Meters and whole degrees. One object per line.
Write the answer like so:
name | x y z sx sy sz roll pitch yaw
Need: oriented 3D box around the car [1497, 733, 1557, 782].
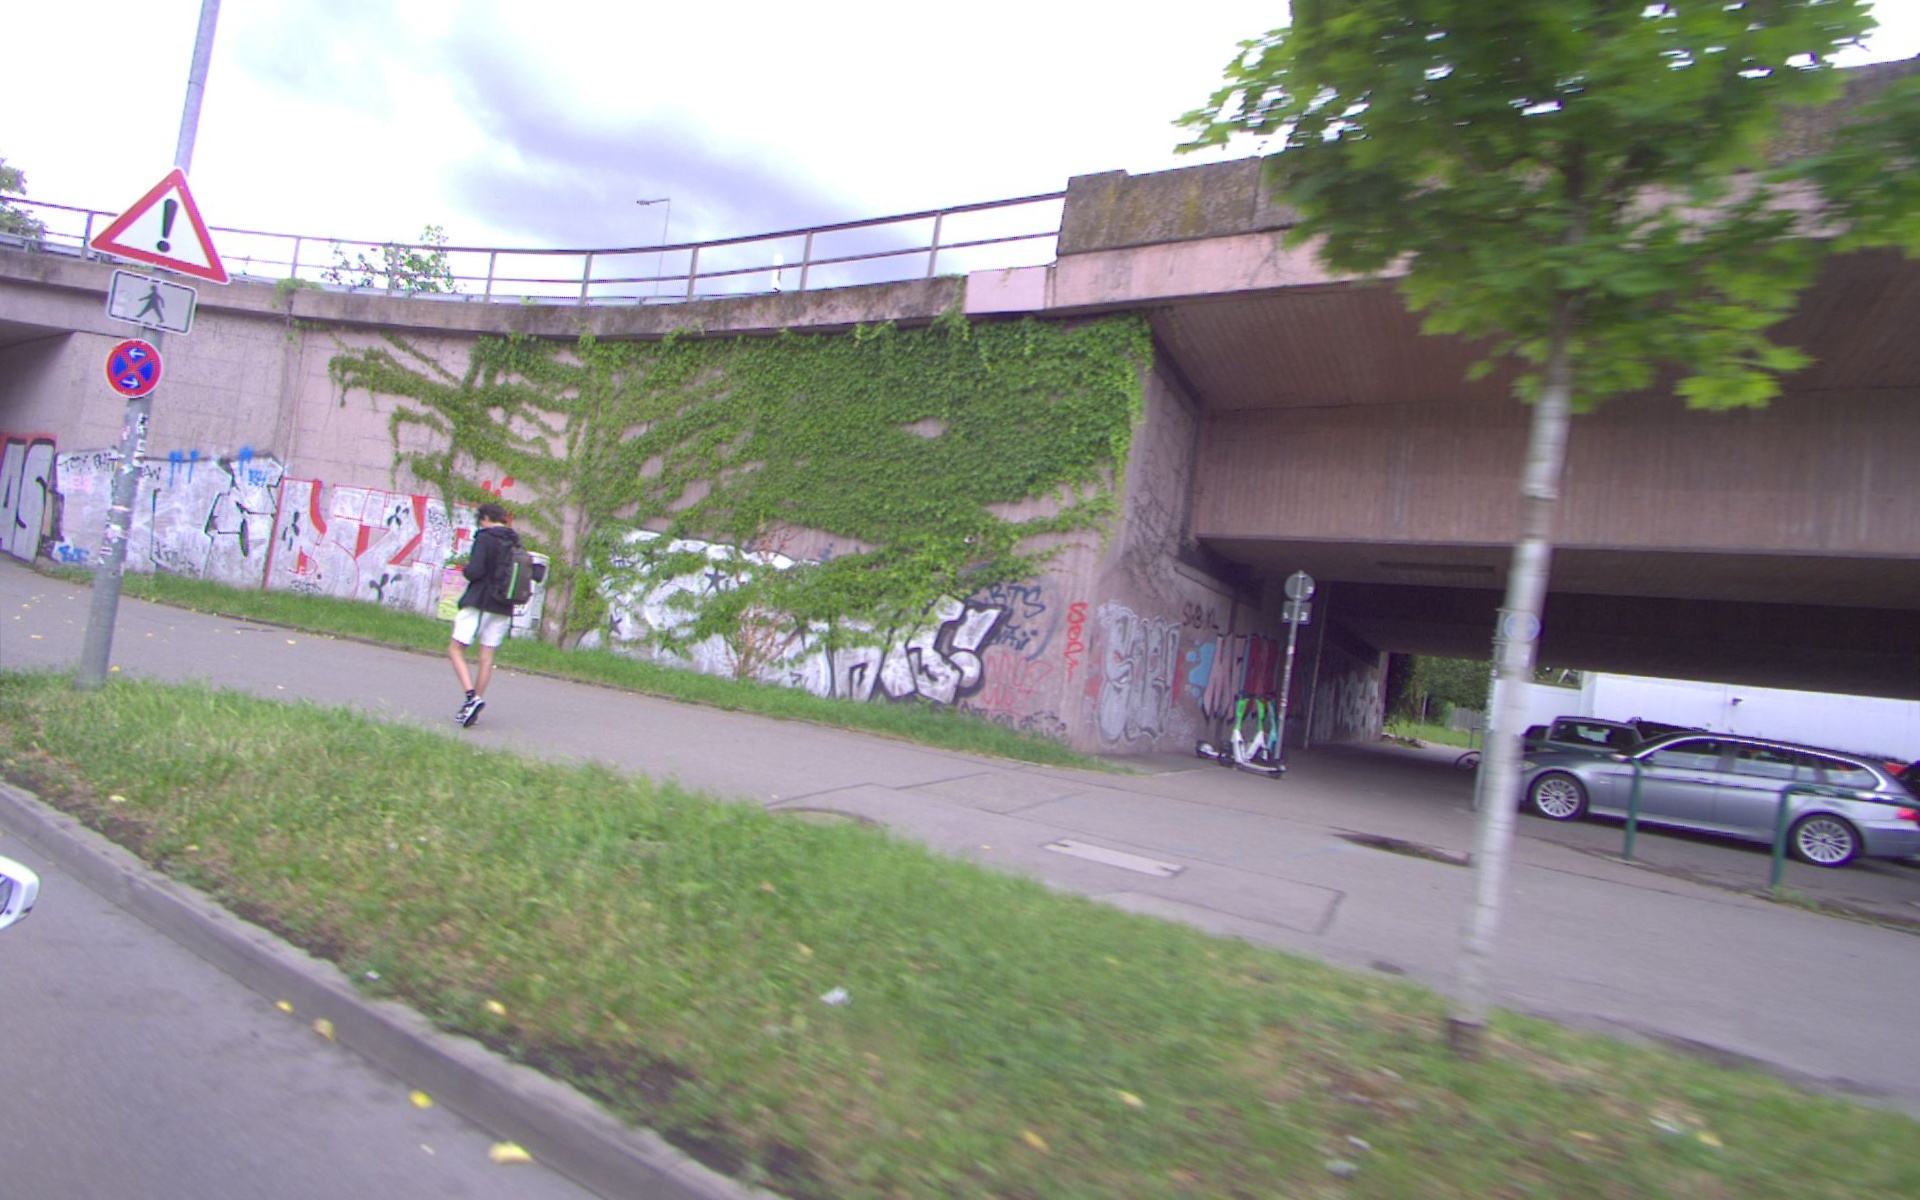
car | 17.305 4.770 30.706 1.357 1.125 3.317 10 -1 30

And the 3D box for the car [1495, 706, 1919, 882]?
car | 9.610 2.393 13.178 4.402 1.402 1.639 6 -2 33

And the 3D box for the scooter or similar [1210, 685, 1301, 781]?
scooter or similar | 4.243 1.891 14.526 0.324 1.170 1.384 8 -2 -22

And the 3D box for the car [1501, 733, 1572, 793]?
car | 14.848 4.151 25.932 1.357 1.125 3.317 10 -1 30

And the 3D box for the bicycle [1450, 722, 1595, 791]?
bicycle | 12.736 3.510 22.812 2.722 1.081 1.138 6 -1 33

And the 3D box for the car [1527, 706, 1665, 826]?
car | 10.712 2.738 17.151 1.601 1.520 3.613 10 -1 30

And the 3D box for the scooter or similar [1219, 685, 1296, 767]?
scooter or similar | 5.050 2.130 17.097 1.065 1.218 0.382 8 -1 4

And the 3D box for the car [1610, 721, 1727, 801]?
car | 18.135 4.054 25.937 1.643 1.596 4.001 7 -2 26

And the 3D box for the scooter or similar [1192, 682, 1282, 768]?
scooter or similar | 4.391 1.980 15.956 1.199 1.170 0.350 8 -1 -5

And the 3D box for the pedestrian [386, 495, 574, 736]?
pedestrian | -4.187 0.122 8.778 1.161 1.903 0.820 7 1 32

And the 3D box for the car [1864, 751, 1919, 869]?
car | 14.241 3.074 14.274 1.436 1.529 3.315 10 -1 34
